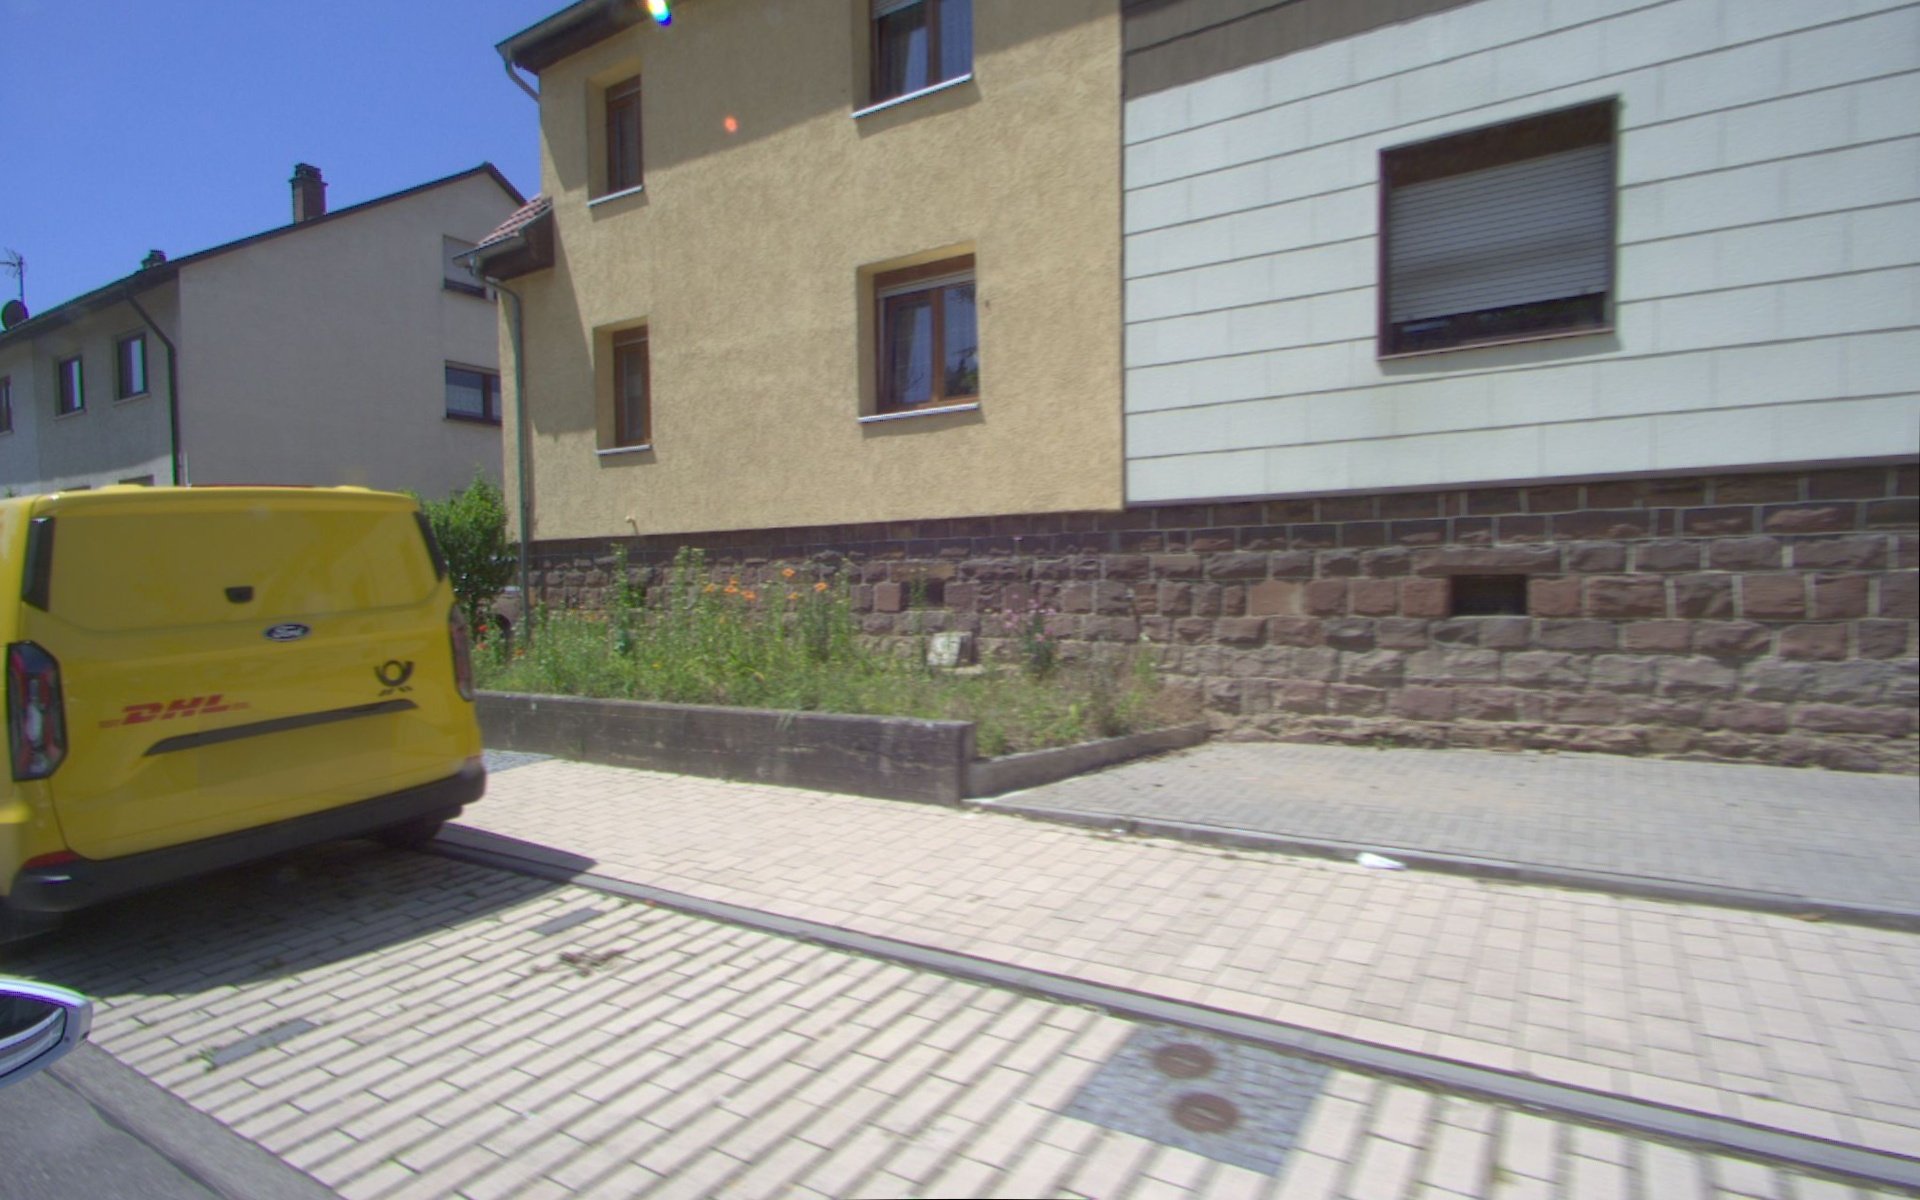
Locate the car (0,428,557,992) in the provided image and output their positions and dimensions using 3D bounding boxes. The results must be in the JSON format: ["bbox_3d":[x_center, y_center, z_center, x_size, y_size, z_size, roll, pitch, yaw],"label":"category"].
[{"bbox_3d":[-5.188,0.381,5.967,5.542,2.042,2.183,-1,4,32],"label":"car"}]

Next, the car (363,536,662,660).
[{"bbox_3d":[-6.983,-0.129,16.057,1.846,1.700,3.978,0,4,30],"label":"car"}]
